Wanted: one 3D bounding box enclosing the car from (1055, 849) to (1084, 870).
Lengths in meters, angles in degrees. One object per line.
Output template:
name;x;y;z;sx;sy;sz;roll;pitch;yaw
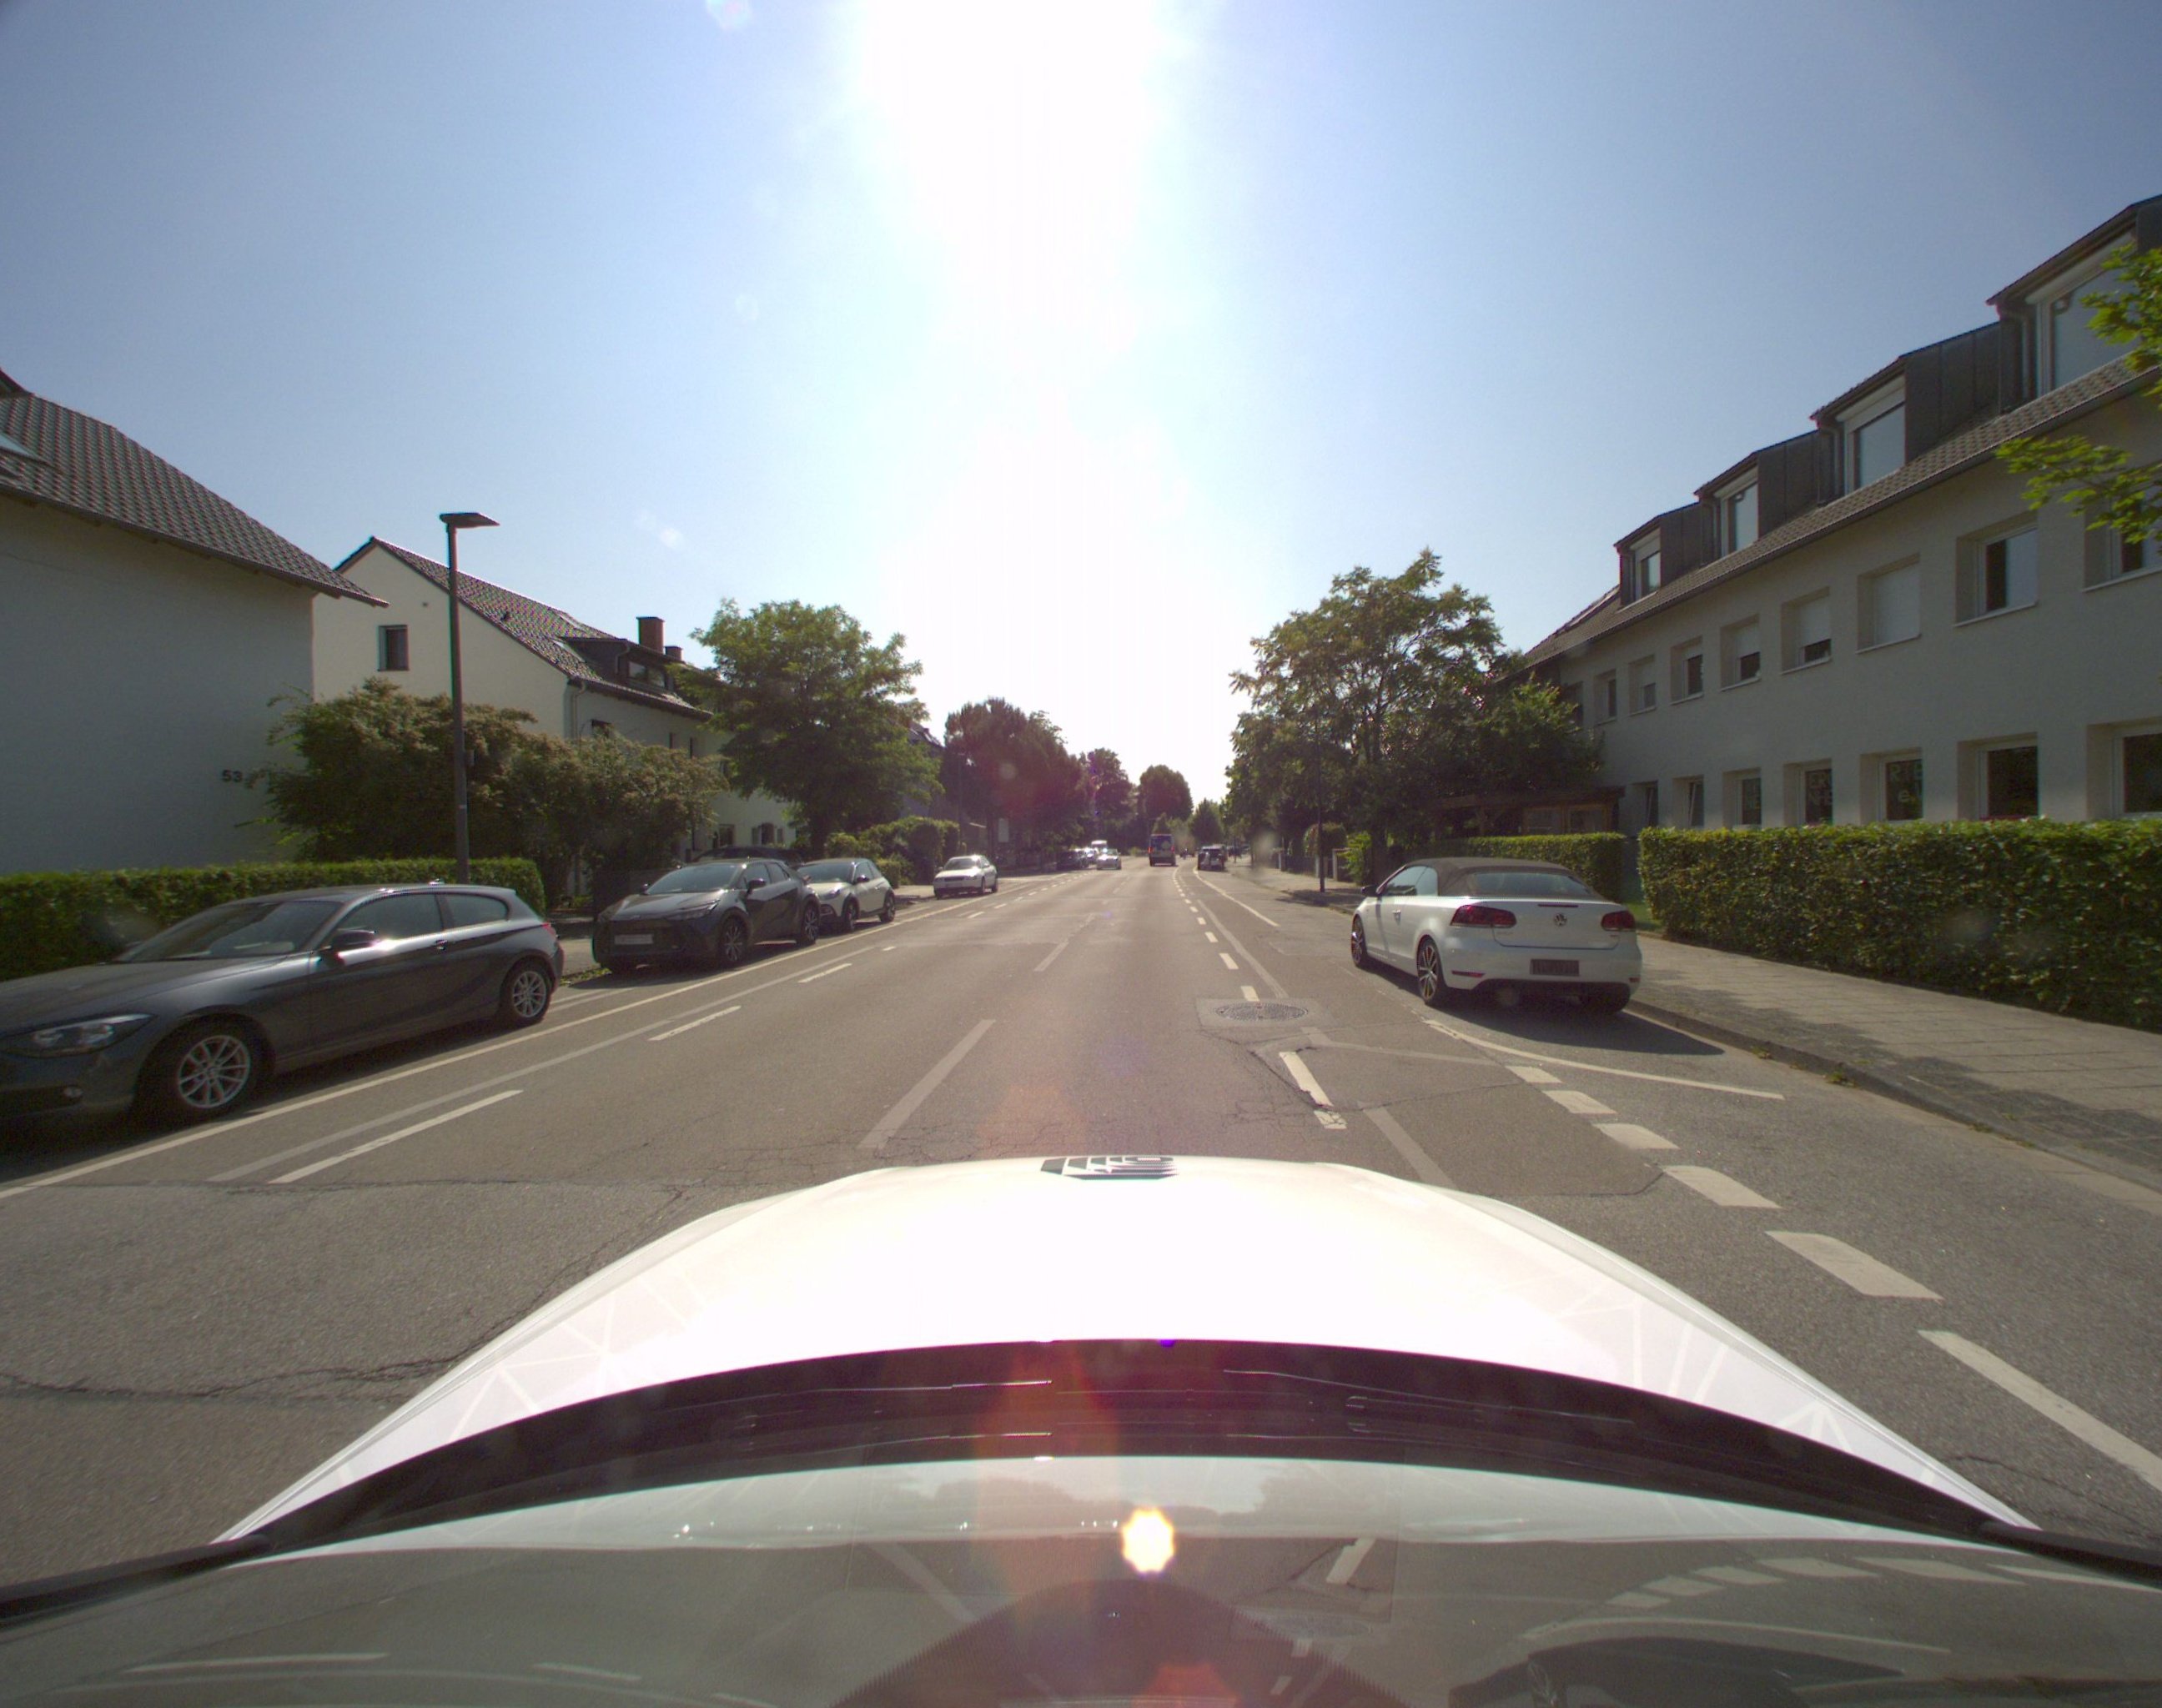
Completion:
car;-0.859;0.389;63.783;1.773;1.460;4.091;-3;0;4

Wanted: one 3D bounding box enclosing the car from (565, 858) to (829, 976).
car;-5.678;0.839;12.718;1.776;1.440;4.118;-2;0;6

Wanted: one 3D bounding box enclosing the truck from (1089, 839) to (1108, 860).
truck;2.180;-0.557;98.692;2.072;2.537;5.471;-1;0;3

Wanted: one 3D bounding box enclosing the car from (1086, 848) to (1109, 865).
car;1.647;0.266;80.483;1.825;1.595;3.782;-1;0;7

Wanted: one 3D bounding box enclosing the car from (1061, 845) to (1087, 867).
car;-0.571;0.152;69.737;1.900;1.676;4.263;-3;1;3

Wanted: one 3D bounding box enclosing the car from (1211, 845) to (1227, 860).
car;15.329;-0.178;90.460;1.691;1.677;3.784;-1;0;8

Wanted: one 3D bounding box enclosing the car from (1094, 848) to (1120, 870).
car;1.976;0.367;60.135;1.724;1.541;4.004;-2;0;4

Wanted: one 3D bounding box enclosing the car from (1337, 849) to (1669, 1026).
car;4.174;0.685;8.873;1.732;1.402;4.079;1;1;4

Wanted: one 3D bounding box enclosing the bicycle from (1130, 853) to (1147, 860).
bicycle;9.493;0.416;135.192;2.682;1.047;1.025;-1;0;-3

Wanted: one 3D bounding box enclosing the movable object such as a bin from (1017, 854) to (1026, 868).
movable object such as a bin;-4.837;0.540;66.517;0.540;1.111;0.586;-1;0;11

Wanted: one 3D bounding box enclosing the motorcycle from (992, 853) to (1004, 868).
motorcycle;-6.631;0.496;65.034;0.533;1.182;1.451;-1;0;11

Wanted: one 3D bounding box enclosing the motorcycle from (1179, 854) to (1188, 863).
motorcycle;12.357;0.535;98.203;1.051;1.122;2.997;-1;0;6

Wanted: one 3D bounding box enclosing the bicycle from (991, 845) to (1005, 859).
bicycle;-7.194;-0.146;70.814;0.532;1.182;1.454;-1;0;23

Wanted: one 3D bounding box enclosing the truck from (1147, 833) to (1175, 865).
truck;6.744;-0.379;68.688;2.261;2.571;4.399;-1;0;5

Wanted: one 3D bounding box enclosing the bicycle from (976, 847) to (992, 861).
bicycle;-8.330;0.011;69.982;0.531;1.181;1.456;0;2;33

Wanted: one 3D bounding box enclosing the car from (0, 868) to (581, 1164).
car;-6.213;0.923;6.396;1.778;1.440;4.158;-3;0;3

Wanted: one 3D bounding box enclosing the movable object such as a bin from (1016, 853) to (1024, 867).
movable object such as a bin;-4.952;0.509;65.914;0.540;1.111;0.520;-1;0;11

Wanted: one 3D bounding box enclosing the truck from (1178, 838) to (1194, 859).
truck;15.216;-0.829;118.049;2.203;2.946;5.696;-1;0;6

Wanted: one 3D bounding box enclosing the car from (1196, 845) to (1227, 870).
car;9.128;0.222;56.728;1.772;1.638;4.487;1;1;13

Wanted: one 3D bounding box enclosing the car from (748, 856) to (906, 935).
car;-5.298;0.807;17.572;1.776;1.440;4.007;-1;0;6

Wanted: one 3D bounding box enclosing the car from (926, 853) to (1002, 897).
car;-4.152;0.715;29.562;1.776;1.440;4.007;-1;0;6

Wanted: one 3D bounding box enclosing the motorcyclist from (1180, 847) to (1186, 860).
motorcyclist;12.316;-0.025;98.235;0.668;1.518;0.654;-1;0;7

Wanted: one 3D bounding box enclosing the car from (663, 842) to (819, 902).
car;-10.562;0.532;25.499;3.967;1.759;2.003;-1;1;5

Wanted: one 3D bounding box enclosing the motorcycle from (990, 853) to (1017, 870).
motorcycle;-5.687;0.529;59.515;1.828;1.182;0.645;-1;0;10

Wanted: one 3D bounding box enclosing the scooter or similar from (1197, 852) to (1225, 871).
scooter or similar;8.596;0.481;53.873;0.723;1.154;1.776;2;1;-40
